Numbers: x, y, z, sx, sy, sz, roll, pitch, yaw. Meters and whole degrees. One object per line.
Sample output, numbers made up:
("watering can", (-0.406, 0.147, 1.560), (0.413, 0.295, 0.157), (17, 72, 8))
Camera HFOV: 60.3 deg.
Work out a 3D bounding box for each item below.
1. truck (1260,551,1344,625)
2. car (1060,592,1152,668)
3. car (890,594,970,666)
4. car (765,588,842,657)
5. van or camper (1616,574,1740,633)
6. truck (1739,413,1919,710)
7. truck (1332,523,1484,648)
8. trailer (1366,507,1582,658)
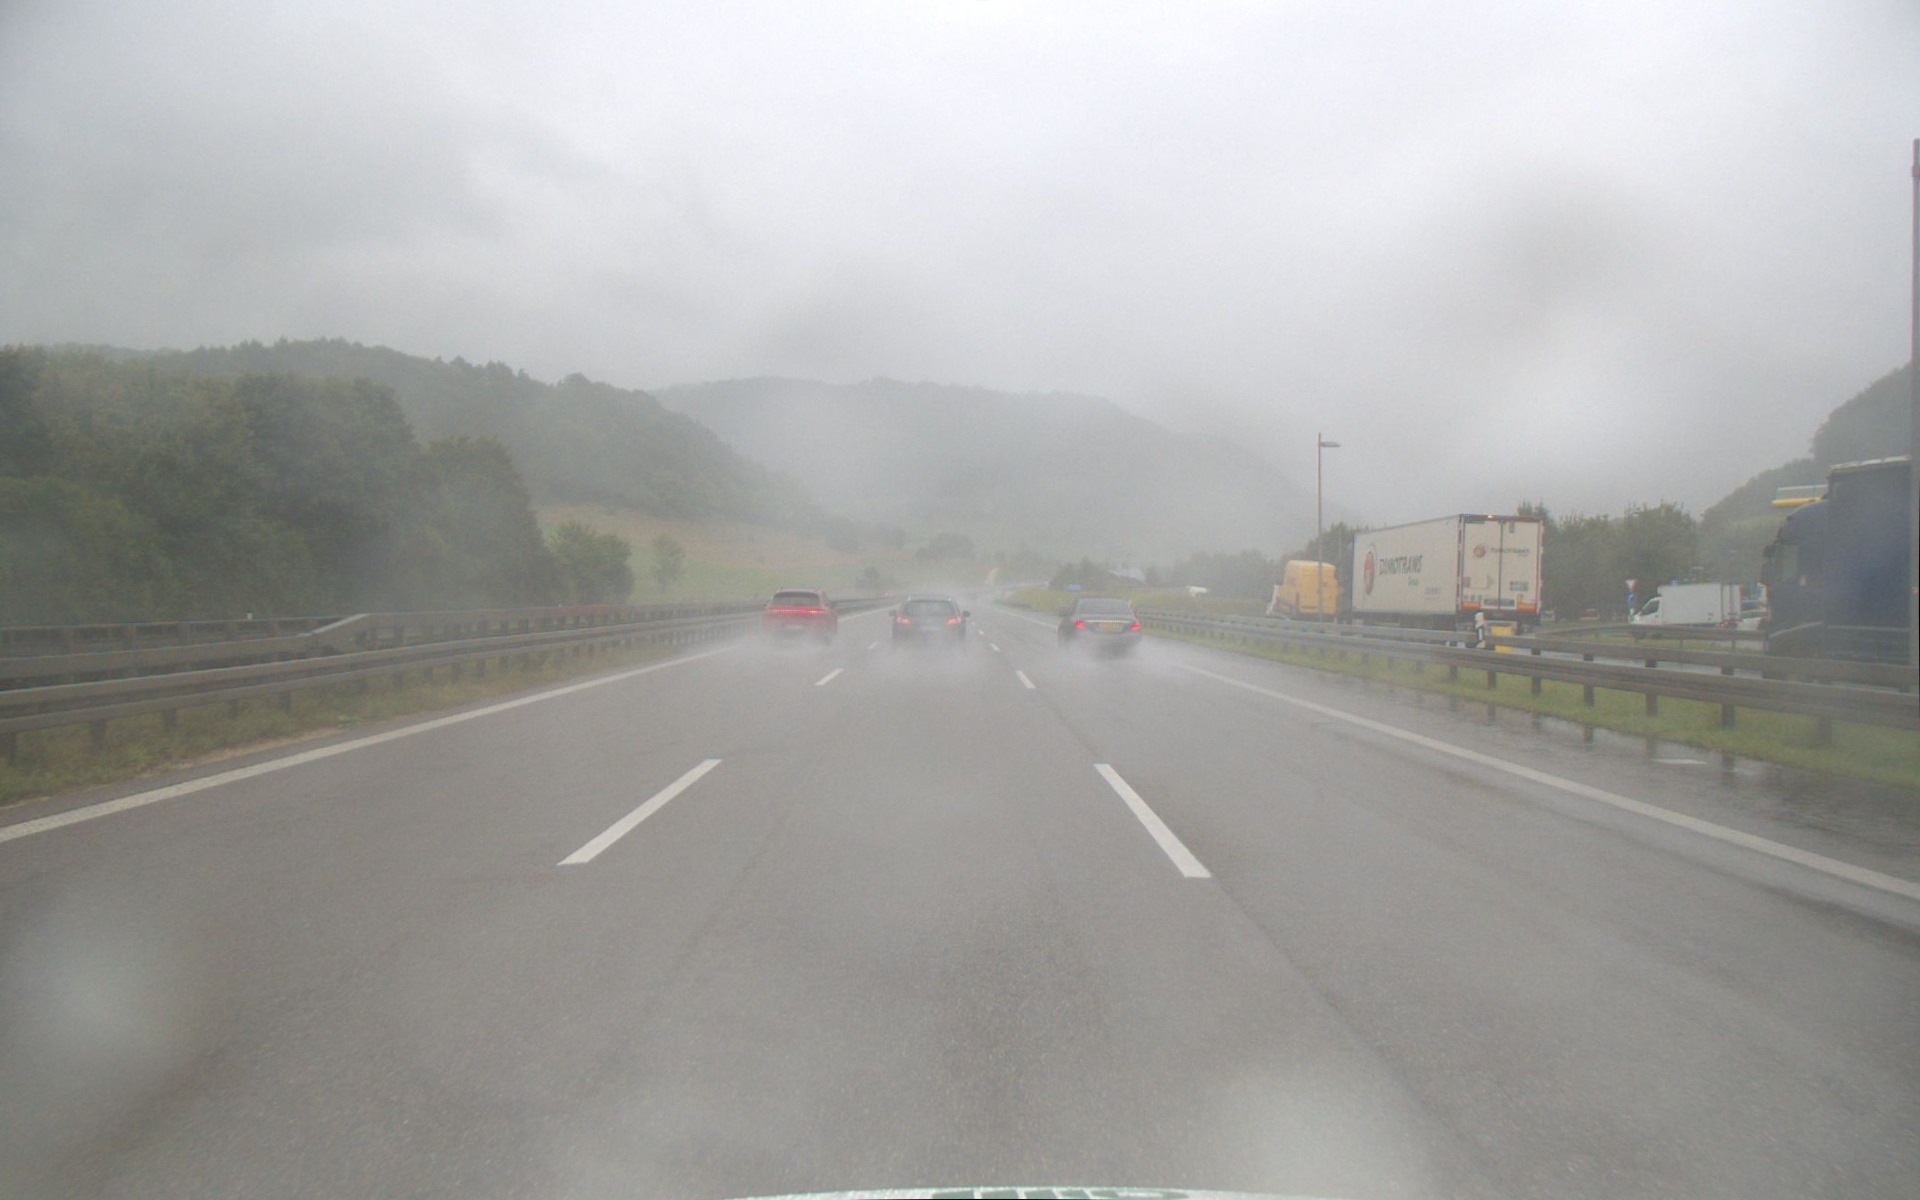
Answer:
("truck", (15.909, -0.518, 77.424), (2.243, 3.202, 8.865), (1, 0, 2))
("car", (3.585, 0.703, 41.287), (1.931, 1.791, 4.000), (0, 0, 0))
("car", (-0.687, 0.683, 40.061), (1.821, 1.617, 4.000), (1, 0, 0))
("car", (-4.352, 0.585, 46.549), (1.846, 1.847, 3.999), (0, 0, -1))
("van or camper", (39.223, 0.158, 90.483), (1.976, 3.112, 6.099), (1, 0, -34))
("truck", (16.089, -0.539, 24.994), (3.331, 4.479, 11.049), (2, 0, 0))
("truck", (16.465, -0.504, 61.426), (3.455, 4.293, 7.816), (1, 0, 0))
("trailer", (16.443, -0.507, 54.168), (3.444, 4.336, 11.920), (1, 0, 1))
